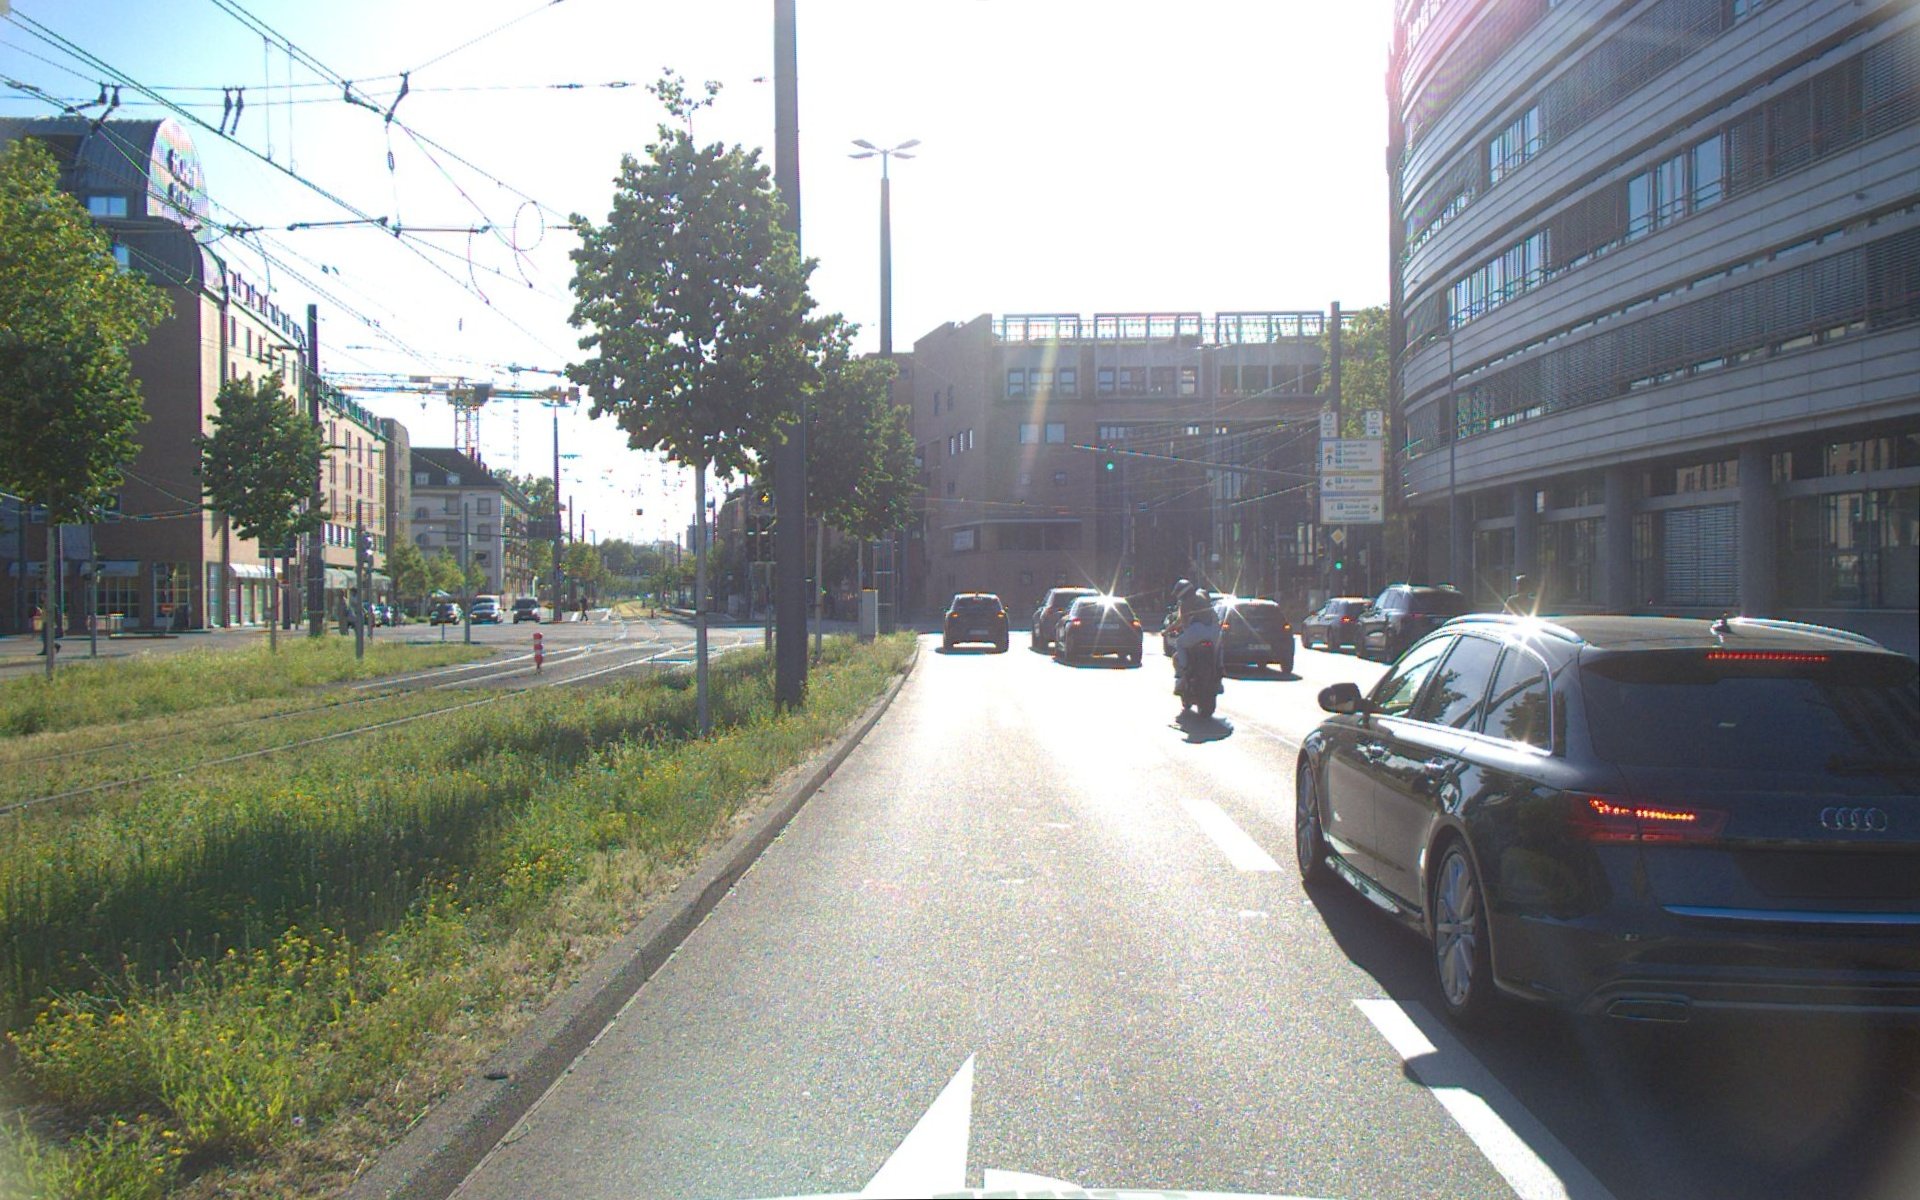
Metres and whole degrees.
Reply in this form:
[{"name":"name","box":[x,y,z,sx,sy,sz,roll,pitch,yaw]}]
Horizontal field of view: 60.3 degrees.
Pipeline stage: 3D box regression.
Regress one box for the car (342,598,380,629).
[{"name":"car","box":[-41.134,0.887,113.640,1.959,2.049,3.986,-1,0,-13]}]

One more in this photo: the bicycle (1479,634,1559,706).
[{"name":"bicycle","box":[8.726,1.070,25.887,0.481,1.015,2.328,-1,0,1]}]

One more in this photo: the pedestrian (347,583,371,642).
[{"name":"pedestrian","box":[-18.965,0.394,52.206,0.552,1.849,0.662,-1,0,-7]}]

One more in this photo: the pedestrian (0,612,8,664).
[{"name":"pedestrian","box":[-38.182,1.518,65.402,0.652,2.049,0.678,-1,0,0]}]

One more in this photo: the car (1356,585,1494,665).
[{"name":"car","box":[10.992,0.548,39.392,1.953,1.780,4.327,-1,0,-2]}]

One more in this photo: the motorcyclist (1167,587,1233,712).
[{"name":"motorcyclist","box":[3.063,0.616,21.155,0.729,1.557,1.021,-1,0,3]}]

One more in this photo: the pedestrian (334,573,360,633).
[{"name":"pedestrian","box":[-19.014,0.093,51.308,0.619,1.862,0.662,-1,0,-7]}]

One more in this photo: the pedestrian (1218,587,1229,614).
[{"name":"pedestrian","box":[14.223,0.048,89.288,0.519,1.455,0.598,-1,0,-1]}]

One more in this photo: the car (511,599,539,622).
[{"name":"car","box":[-30.423,0.716,115.649,1.717,1.531,3.861,-1,0,-17]}]

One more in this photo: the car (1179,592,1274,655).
[{"name":"car","box":[6.632,0.563,41.504,1.770,1.482,4.000,1,0,0]}]

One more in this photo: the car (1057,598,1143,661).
[{"name":"car","box":[3.188,0.653,38.361,1.701,1.373,4.000,0,0,1]}]

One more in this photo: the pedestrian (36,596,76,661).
[{"name":"pedestrian","box":[-28.491,0.891,52.132,0.717,2.049,0.838,1,0,4]}]

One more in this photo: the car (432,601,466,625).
[{"name":"car","box":[-35.944,0.889,116.448,1.959,1.624,4.722,-1,0,-13]}]

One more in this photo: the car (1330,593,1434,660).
[{"name":"car","box":[11.024,0.656,43.475,1.952,1.680,4.002,0,0,4]}]

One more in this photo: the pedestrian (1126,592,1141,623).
[{"name":"pedestrian","box":[9.989,0.440,95.290,0.692,1.789,0.560,-1,0,25]}]

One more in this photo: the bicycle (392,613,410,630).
[{"name":"bicycle","box":[-37.143,1.413,109.948,0.637,1.104,2.921,-1,0,-8]}]

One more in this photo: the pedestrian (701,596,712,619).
[{"name":"pedestrian","box":[-18.736,0.570,122.062,0.729,1.669,0.765,-1,0,-14]}]

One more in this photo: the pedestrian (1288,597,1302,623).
[{"name":"pedestrian","box":[21.539,0.615,106.322,0.881,1.645,0.561,-1,0,8]}]

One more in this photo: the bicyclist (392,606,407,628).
[{"name":"bicyclist","box":[-37.057,1.116,109.364,0.743,1.399,0.949,-1,0,-8]}]

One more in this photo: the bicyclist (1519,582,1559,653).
[{"name":"bicyclist","box":[13.752,0.412,39.315,0.669,1.646,0.992,-1,0,7]}]

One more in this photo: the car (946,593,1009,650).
[{"name":"car","box":[0.465,0.541,44.586,1.615,1.458,4.000,0,0,1]}]

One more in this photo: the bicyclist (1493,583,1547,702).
[{"name":"bicyclist","box":[8.735,0.648,25.821,0.565,1.822,0.864,-1,0,2]}]

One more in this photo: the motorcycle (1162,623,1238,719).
[{"name":"motorcycle","box":[3.076,0.891,21.356,0.759,1.135,1.970,-1,0,2]}]

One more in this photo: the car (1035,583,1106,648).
[{"name":"car","box":[2.984,0.408,45.270,1.701,1.680,4.000,0,0,1]}]

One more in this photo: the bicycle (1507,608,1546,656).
[{"name":"bicycle","box":[13.440,0.753,39.285,0.493,1.076,1.703,-3,-1,7]}]

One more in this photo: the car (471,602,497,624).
[{"name":"car","box":[-33.483,0.916,116.314,1.717,1.531,3.861,-1,0,-17]}]

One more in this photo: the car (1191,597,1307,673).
[{"name":"car","box":[6.005,0.682,34.753,1.770,1.482,4.000,1,0,0]}]

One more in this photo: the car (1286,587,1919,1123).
[{"name":"car","box":[2.688,0.734,7.007,1.774,1.518,4.496,1,0,1]}]
